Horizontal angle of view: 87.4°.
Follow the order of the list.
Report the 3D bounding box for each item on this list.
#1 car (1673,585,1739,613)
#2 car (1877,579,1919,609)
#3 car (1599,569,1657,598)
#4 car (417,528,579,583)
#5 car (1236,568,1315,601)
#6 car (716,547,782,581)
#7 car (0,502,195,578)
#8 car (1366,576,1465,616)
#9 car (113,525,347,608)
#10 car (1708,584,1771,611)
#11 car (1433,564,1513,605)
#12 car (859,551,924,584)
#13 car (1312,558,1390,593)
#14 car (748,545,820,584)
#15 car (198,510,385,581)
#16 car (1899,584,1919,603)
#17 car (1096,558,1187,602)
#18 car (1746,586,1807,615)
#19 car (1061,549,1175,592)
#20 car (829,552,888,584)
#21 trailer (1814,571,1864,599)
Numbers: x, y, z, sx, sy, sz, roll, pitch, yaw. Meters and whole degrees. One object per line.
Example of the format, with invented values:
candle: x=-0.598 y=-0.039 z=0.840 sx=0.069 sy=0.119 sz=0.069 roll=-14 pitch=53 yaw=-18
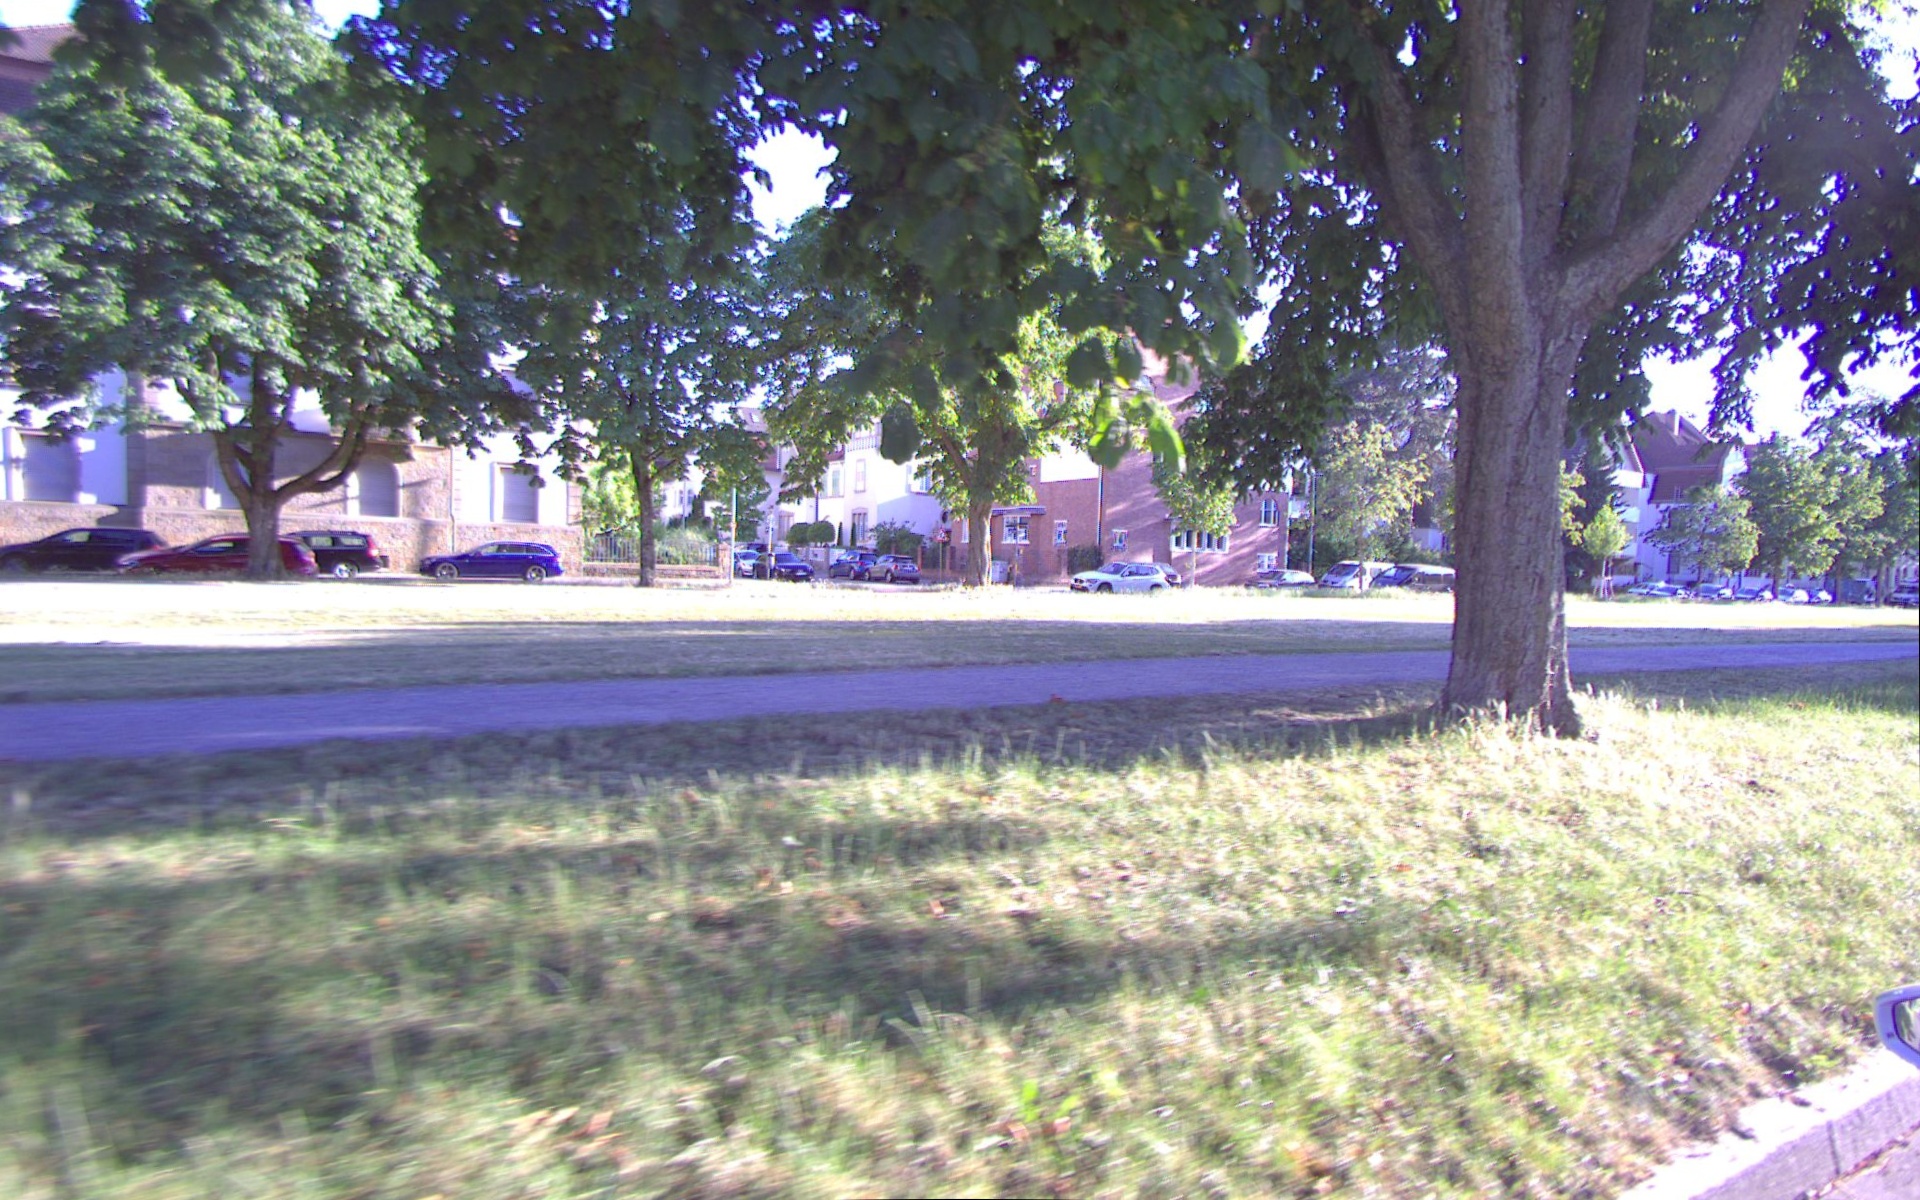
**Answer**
car: x=50.884 y=-0.052 z=68.503 sx=3.950 sy=1.706 sz=1.985 roll=1 pitch=3 yaw=-28
car: x=96.075 y=-0.620 z=102.231 sx=5.750 sy=2.961 sz=2.426 roll=1 pitch=1 yaw=-30
car: x=49.835 y=-1.246 z=74.906 sx=3.952 sy=2.040 sz=2.022 roll=1 pitch=1 yaw=-29
car: x=-16.205 y=-1.552 z=35.326 sx=4.954 sy=1.773 sz=1.981 roll=0 pitch=3 yaw=-34
car: x=17.592 y=-0.858 z=55.963 sx=4.254 sy=1.645 sz=1.748 roll=1 pitch=3 yaw=-30
car: x=-11.445 y=-1.965 z=54.177 sx=2.162 sy=1.629 sz=4.833 roll=1 pitch=3 yaw=-29
car: x=-25.631 y=-1.754 z=29.883 sx=4.379 sy=2.041 sz=1.982 roll=0 pitch=3 yaw=-32
car: x=23.877 y=-0.229 z=52.577 sx=5.182 sy=1.967 sz=1.984 roll=0 pitch=3 yaw=-30
car: x=-19.363 y=-0.875 z=26.976 sx=4.815 sy=2.041 sz=1.985 roll=1 pitch=3 yaw=-29
car: x=55.534 y=-0.191 z=71.544 sx=4.203 sy=1.744 sz=1.984 roll=1 pitch=3 yaw=-29
car: x=28.468 y=-0.861 z=55.749 sx=3.952 sy=2.041 sz=1.984 roll=1 pitch=5 yaw=-30
car: x=-3.577 y=-1.696 z=51.910 sx=1.842 sy=1.506 sz=3.969 roll=1 pitch=3 yaw=-29
car: x=22.721 y=-1.419 z=58.313 sx=4.355 sy=1.863 sz=1.808 roll=1 pitch=3 yaw=-30
car: x=-8.676 y=-1.770 z=49.313 sx=1.976 sy=1.629 sz=4.833 roll=3 pitch=2 yaw=-29
car: x=-21.298 y=-1.716 z=32.278 sx=4.815 sy=2.041 sz=1.985 roll=1 pitch=3 yaw=-29
car: x=84.830 y=-0.503 z=88.557 sx=4.262 sy=1.581 sz=1.677 roll=1 pitch=3 yaw=-30
car: x=9.013 y=-0.975 z=49.782 sx=4.316 sy=2.041 sz=1.748 roll=0 pitch=3 yaw=-30
car: x=60.377 y=0.052 z=74.290 sx=4.203 sy=1.885 sz=1.984 roll=1 pitch=3 yaw=-29
car: x=6.677 y=-1.240 z=42.288 sx=4.596 sy=1.662 sz=1.810 roll=0 pitch=3 yaw=-31
car: x=-5.670 y=-1.792 z=55.606 sx=1.814 sy=1.595 sz=3.877 roll=0 pitch=3 yaw=-30
trailer: x=81.927 y=-1.380 z=93.597 sx=4.667 sy=2.461 sz=1.984 roll=1 pitch=3 yaw=-30
